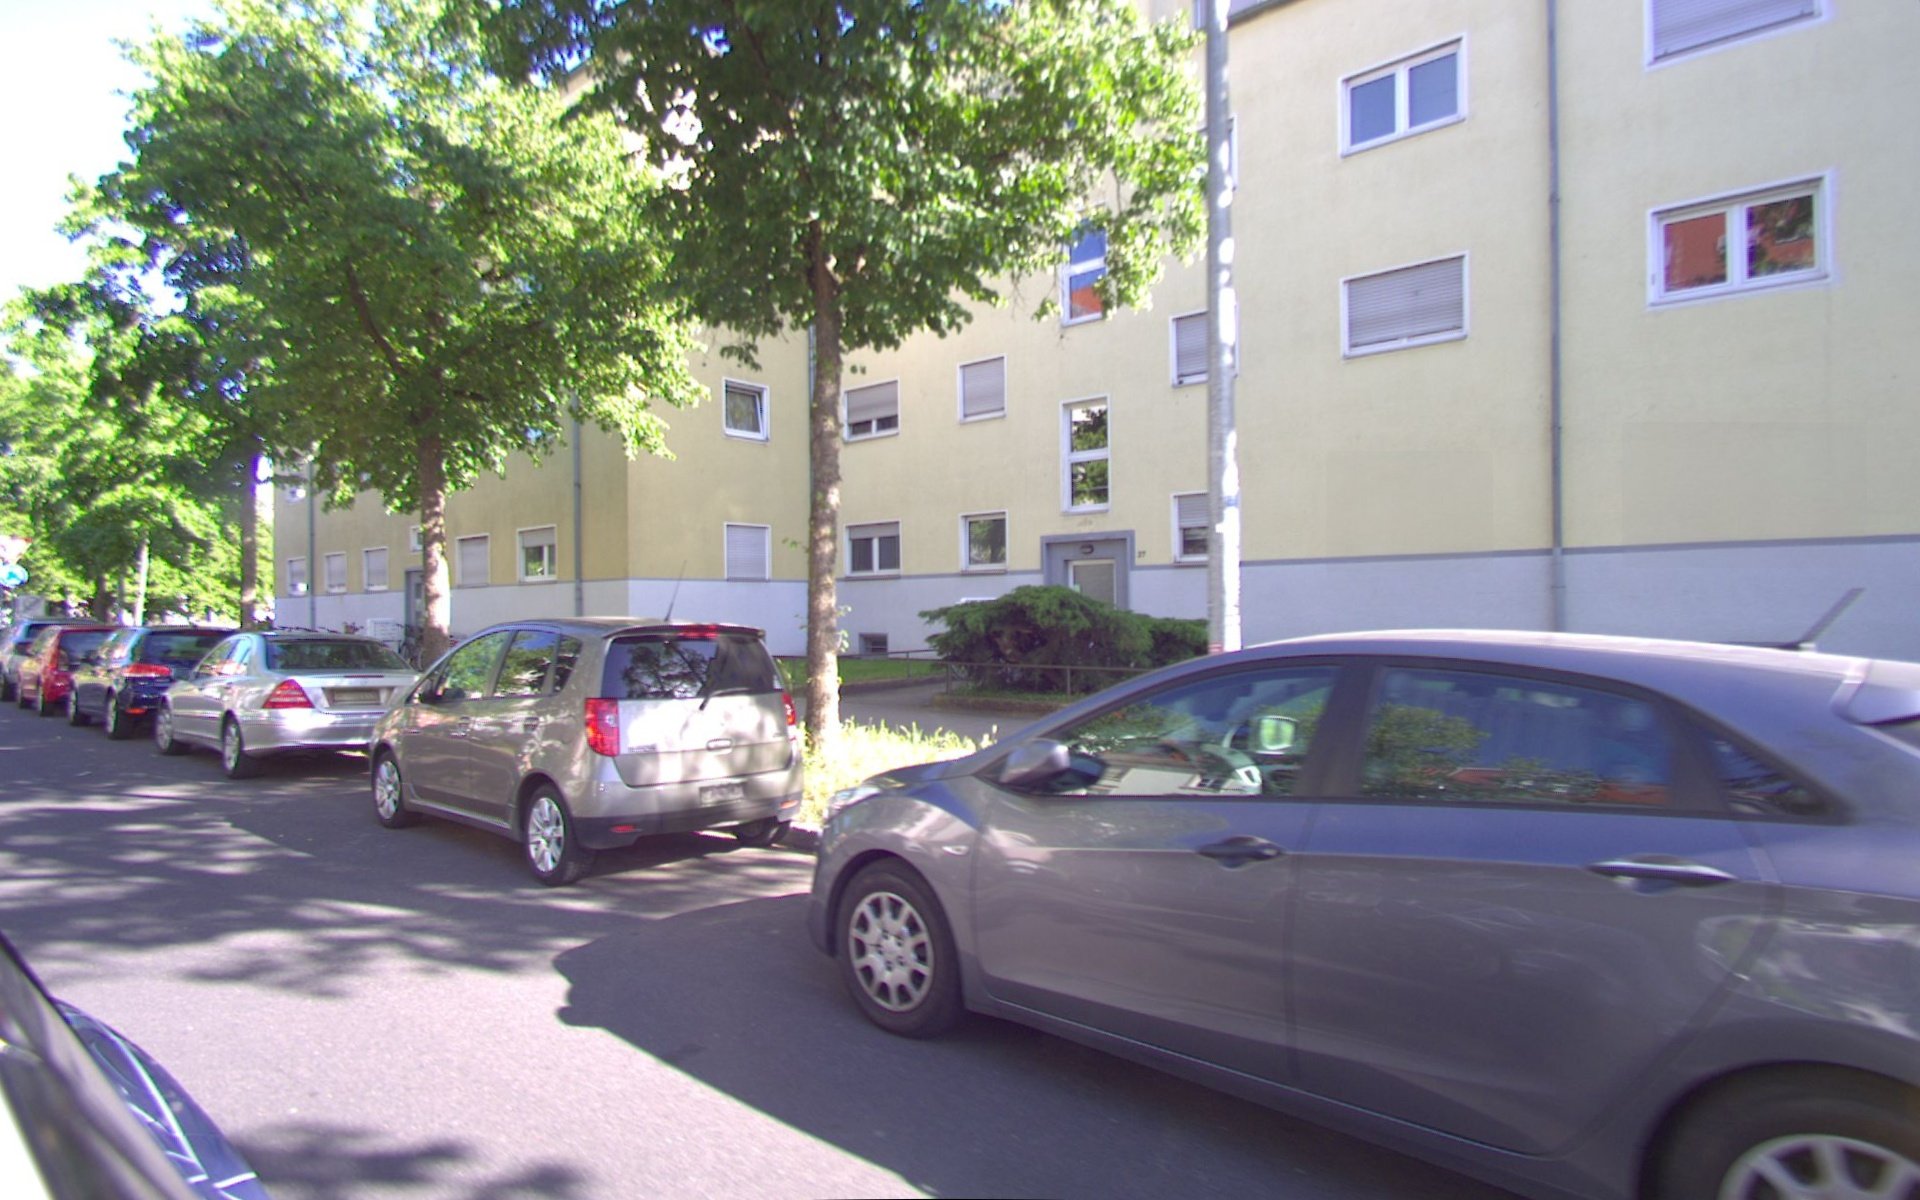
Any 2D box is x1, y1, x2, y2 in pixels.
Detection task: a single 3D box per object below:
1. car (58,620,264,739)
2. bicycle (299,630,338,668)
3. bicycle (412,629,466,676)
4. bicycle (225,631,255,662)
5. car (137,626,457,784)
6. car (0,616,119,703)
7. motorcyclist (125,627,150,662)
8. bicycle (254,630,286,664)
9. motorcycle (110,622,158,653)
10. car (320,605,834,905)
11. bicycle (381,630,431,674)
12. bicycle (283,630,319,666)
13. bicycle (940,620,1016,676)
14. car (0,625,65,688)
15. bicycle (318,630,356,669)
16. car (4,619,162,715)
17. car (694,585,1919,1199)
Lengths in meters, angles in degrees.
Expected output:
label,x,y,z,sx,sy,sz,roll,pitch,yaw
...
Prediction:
label,x,y,z,sx,sy,sz,roll,pitch,yaw
car,-11.604,1.051,14.606,3.930,1.470,1.647,-2,-1,41
bicycle,-18.031,1.367,28.445,1.544,1.008,0.506,-2,-1,41
bicycle,-12.164,1.204,23.604,1.748,1.034,0.530,-2,-1,42
bicycle,-23.790,1.528,33.432,1.544,1.008,0.471,-2,-1,41
car,-7.406,0.985,11.093,4.671,1.379,1.727,-1,-2,41
car,-18.859,1.160,20.702,4.730,1.577,1.675,-2,-1,39
motorcyclist,-33.051,1.782,40.659,0.547,1.413,0.519,0,-2,4
bicycle,-21.307,1.451,31.221,1.544,1.008,0.448,-2,-1,41
motorcycle,-33.066,1.506,40.539,0.547,1.184,1.631,-1,-1,3
car,-2.924,0.861,7.205,4.267,1.527,1.603,-1,-3,42
bicycle,-13.628,1.252,24.863,1.748,1.034,0.534,-2,-1,42
bicycle,-19.385,1.405,29.757,1.681,1.008,0.430,-2,-1,41
bicycle,0.343,0.828,17.986,0.480,0.938,1.617,-2,-2,37
car,-23.684,1.367,24.929,3.988,1.453,1.743,-1,-1,38
bicycle,-16.812,1.324,27.307,1.545,1.008,0.509,-2,-2,44
car,-15.386,1.114,17.715,3.254,1.497,1.647,-2,-1,41
car,1.192,0.757,3.384,4.687,1.455,1.772,-2,-3,42
